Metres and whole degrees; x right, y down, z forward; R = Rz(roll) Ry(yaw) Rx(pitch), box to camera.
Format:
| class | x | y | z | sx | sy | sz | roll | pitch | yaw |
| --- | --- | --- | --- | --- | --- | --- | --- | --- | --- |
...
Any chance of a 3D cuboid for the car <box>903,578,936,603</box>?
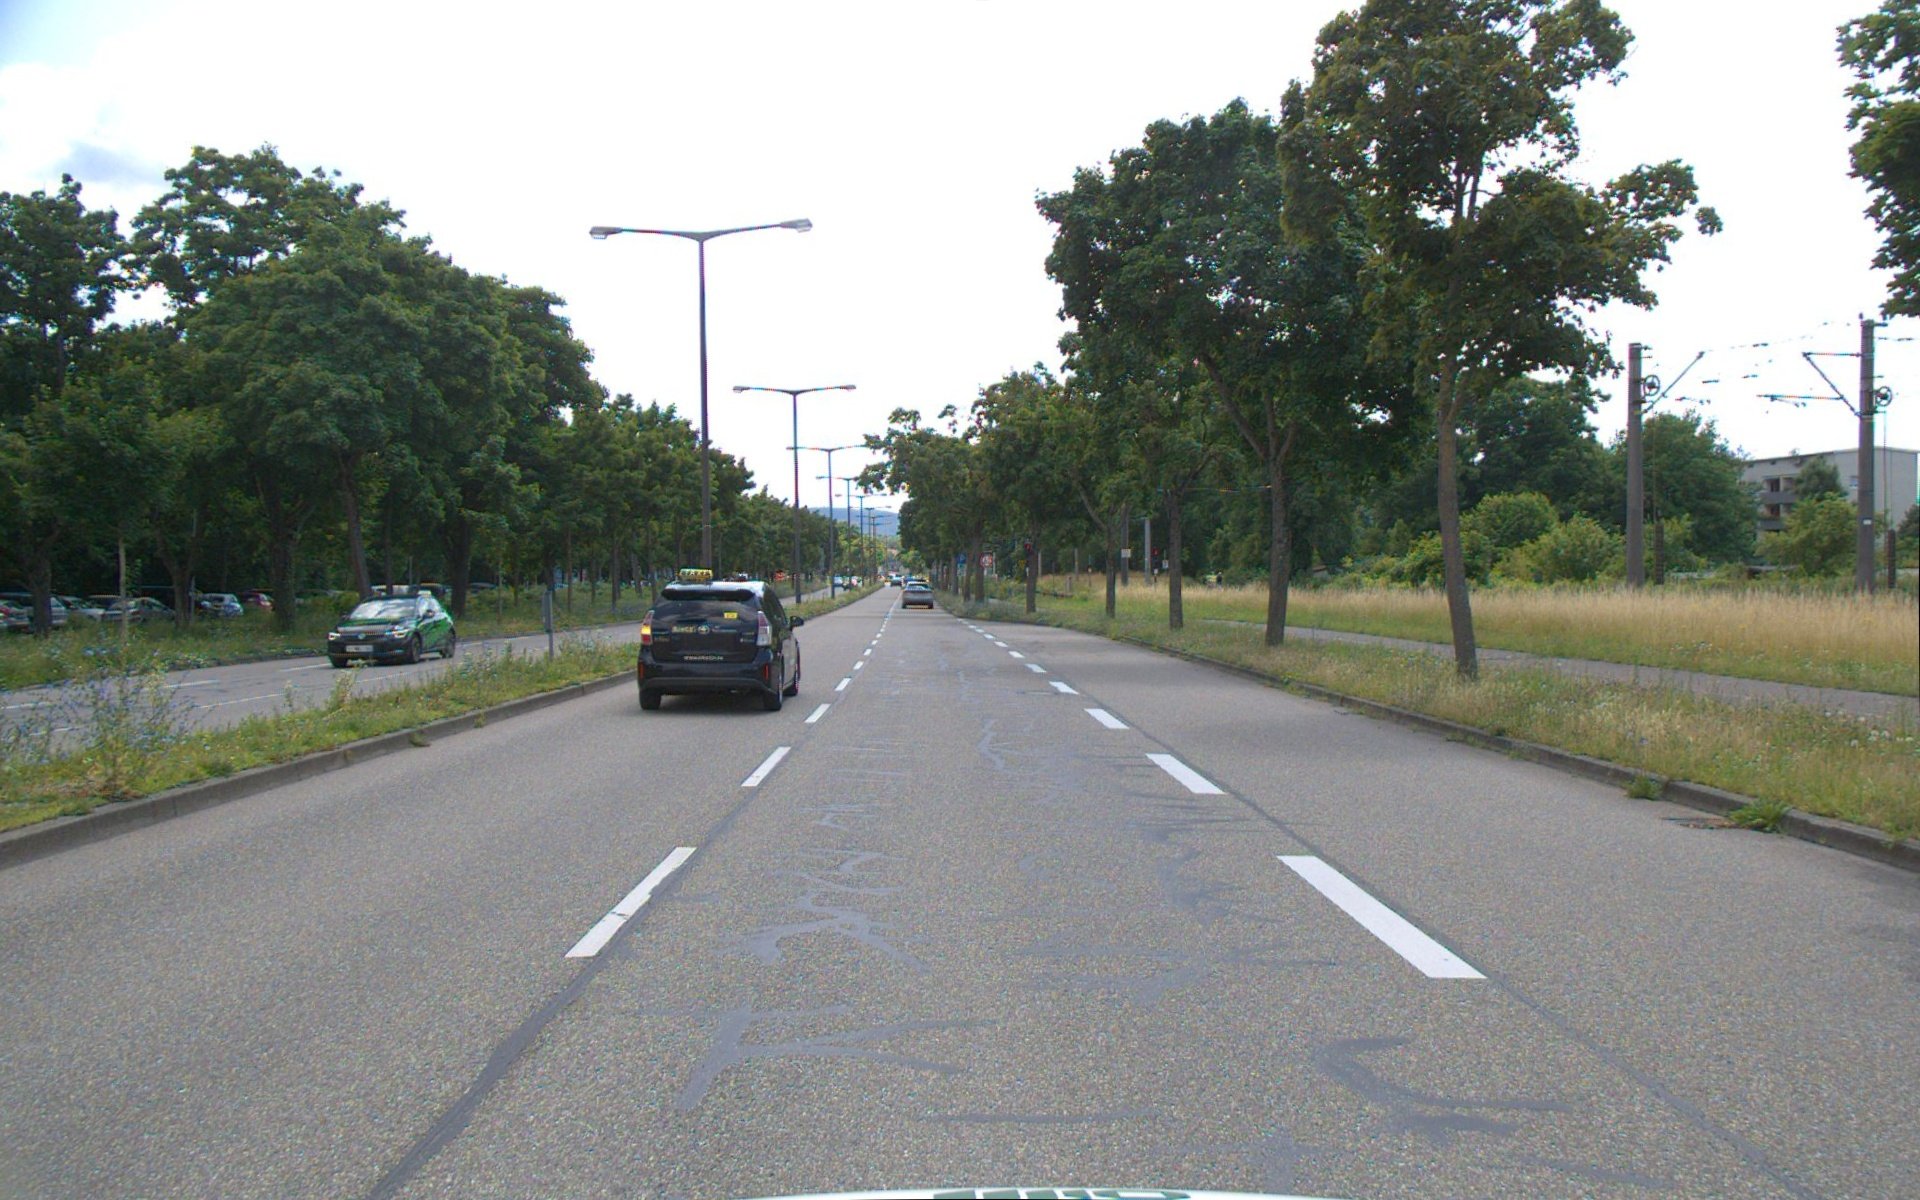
| class | x | y | z | sx | sy | sz | roll | pitch | yaw |
| --- | --- | --- | --- | --- | --- | --- | --- | --- | --- |
| car | -2.572 | -0.615 | 103.843 | 1.953 | 1.534 | 3.999 | 1 | 1 | -2 |

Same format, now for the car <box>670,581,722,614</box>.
| class | x | y | z | sx | sy | sz | roll | pitch | yaw |
| --- | --- | --- | --- | --- | --- | --- | --- | --- | --- |
| car | -13.049 | -0.135 | 81.932 | 1.840 | 1.534 | 3.799 | 1 | 1 | 2 |

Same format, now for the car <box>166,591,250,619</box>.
| class | x | y | z | sx | sy | sz | roll | pitch | yaw |
| --- | --- | --- | --- | --- | --- | --- | --- | --- | --- |
| car | -40.876 | 0.269 | 89.929 | 3.706 | 1.412 | 1.786 | 1 | 1 | 3 |

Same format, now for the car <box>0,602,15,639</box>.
| class | x | y | z | sx | sy | sz | roll | pitch | yaw |
| --- | --- | --- | --- | --- | --- | --- | --- | --- | --- |
| car | -39.399 | 0.800 | 64.801 | 3.706 | 1.412 | 1.786 | 1 | 1 | 3 |

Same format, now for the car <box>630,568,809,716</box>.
| class | x | y | z | sx | sy | sz | roll | pitch | yaw |
| --- | --- | --- | --- | --- | --- | --- | --- | --- | --- |
| car | -2.999 | 0.452 | 21.373 | 1.743 | 1.713 | 4.000 | 1 | 1 | -1 |

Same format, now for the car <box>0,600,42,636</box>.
| class | x | y | z | sx | sy | sz | roll | pitch | yaw |
| --- | --- | --- | --- | --- | --- | --- | --- | --- | --- |
| car | -39.775 | 0.711 | 67.420 | 3.705 | 1.412 | 1.787 | 1 | 1 | 4 |

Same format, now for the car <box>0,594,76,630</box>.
| class | x | y | z | sx | sy | sz | roll | pitch | yaw |
| --- | --- | --- | --- | --- | --- | --- | --- | --- | --- |
| car | -39.788 | 0.493 | 70.112 | 3.706 | 1.412 | 1.786 | 1 | 1 | 3 |

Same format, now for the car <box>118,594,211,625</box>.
| class | x | y | z | sx | sy | sz | roll | pitch | yaw |
| --- | --- | --- | --- | --- | --- | --- | --- | --- | --- |
| car | -39.360 | 0.460 | 81.861 | 3.706 | 1.412 | 1.786 | 1 | 1 | 3 |

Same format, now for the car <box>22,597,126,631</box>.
| class | x | y | z | sx | sy | sz | roll | pitch | yaw |
| --- | --- | --- | --- | --- | --- | --- | --- | --- | --- |
| car | -39.601 | 0.602 | 73.987 | 3.706 | 1.412 | 1.786 | 1 | 1 | 3 |

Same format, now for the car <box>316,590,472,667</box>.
| class | x | y | z | sx | sy | sz | roll | pitch | yaw |
| --- | --- | --- | --- | --- | --- | --- | --- | --- | --- |
| car | -12.169 | 0.562 | 35.842 | 1.718 | 1.484 | 4.471 | 1 | 1 | 2 |
